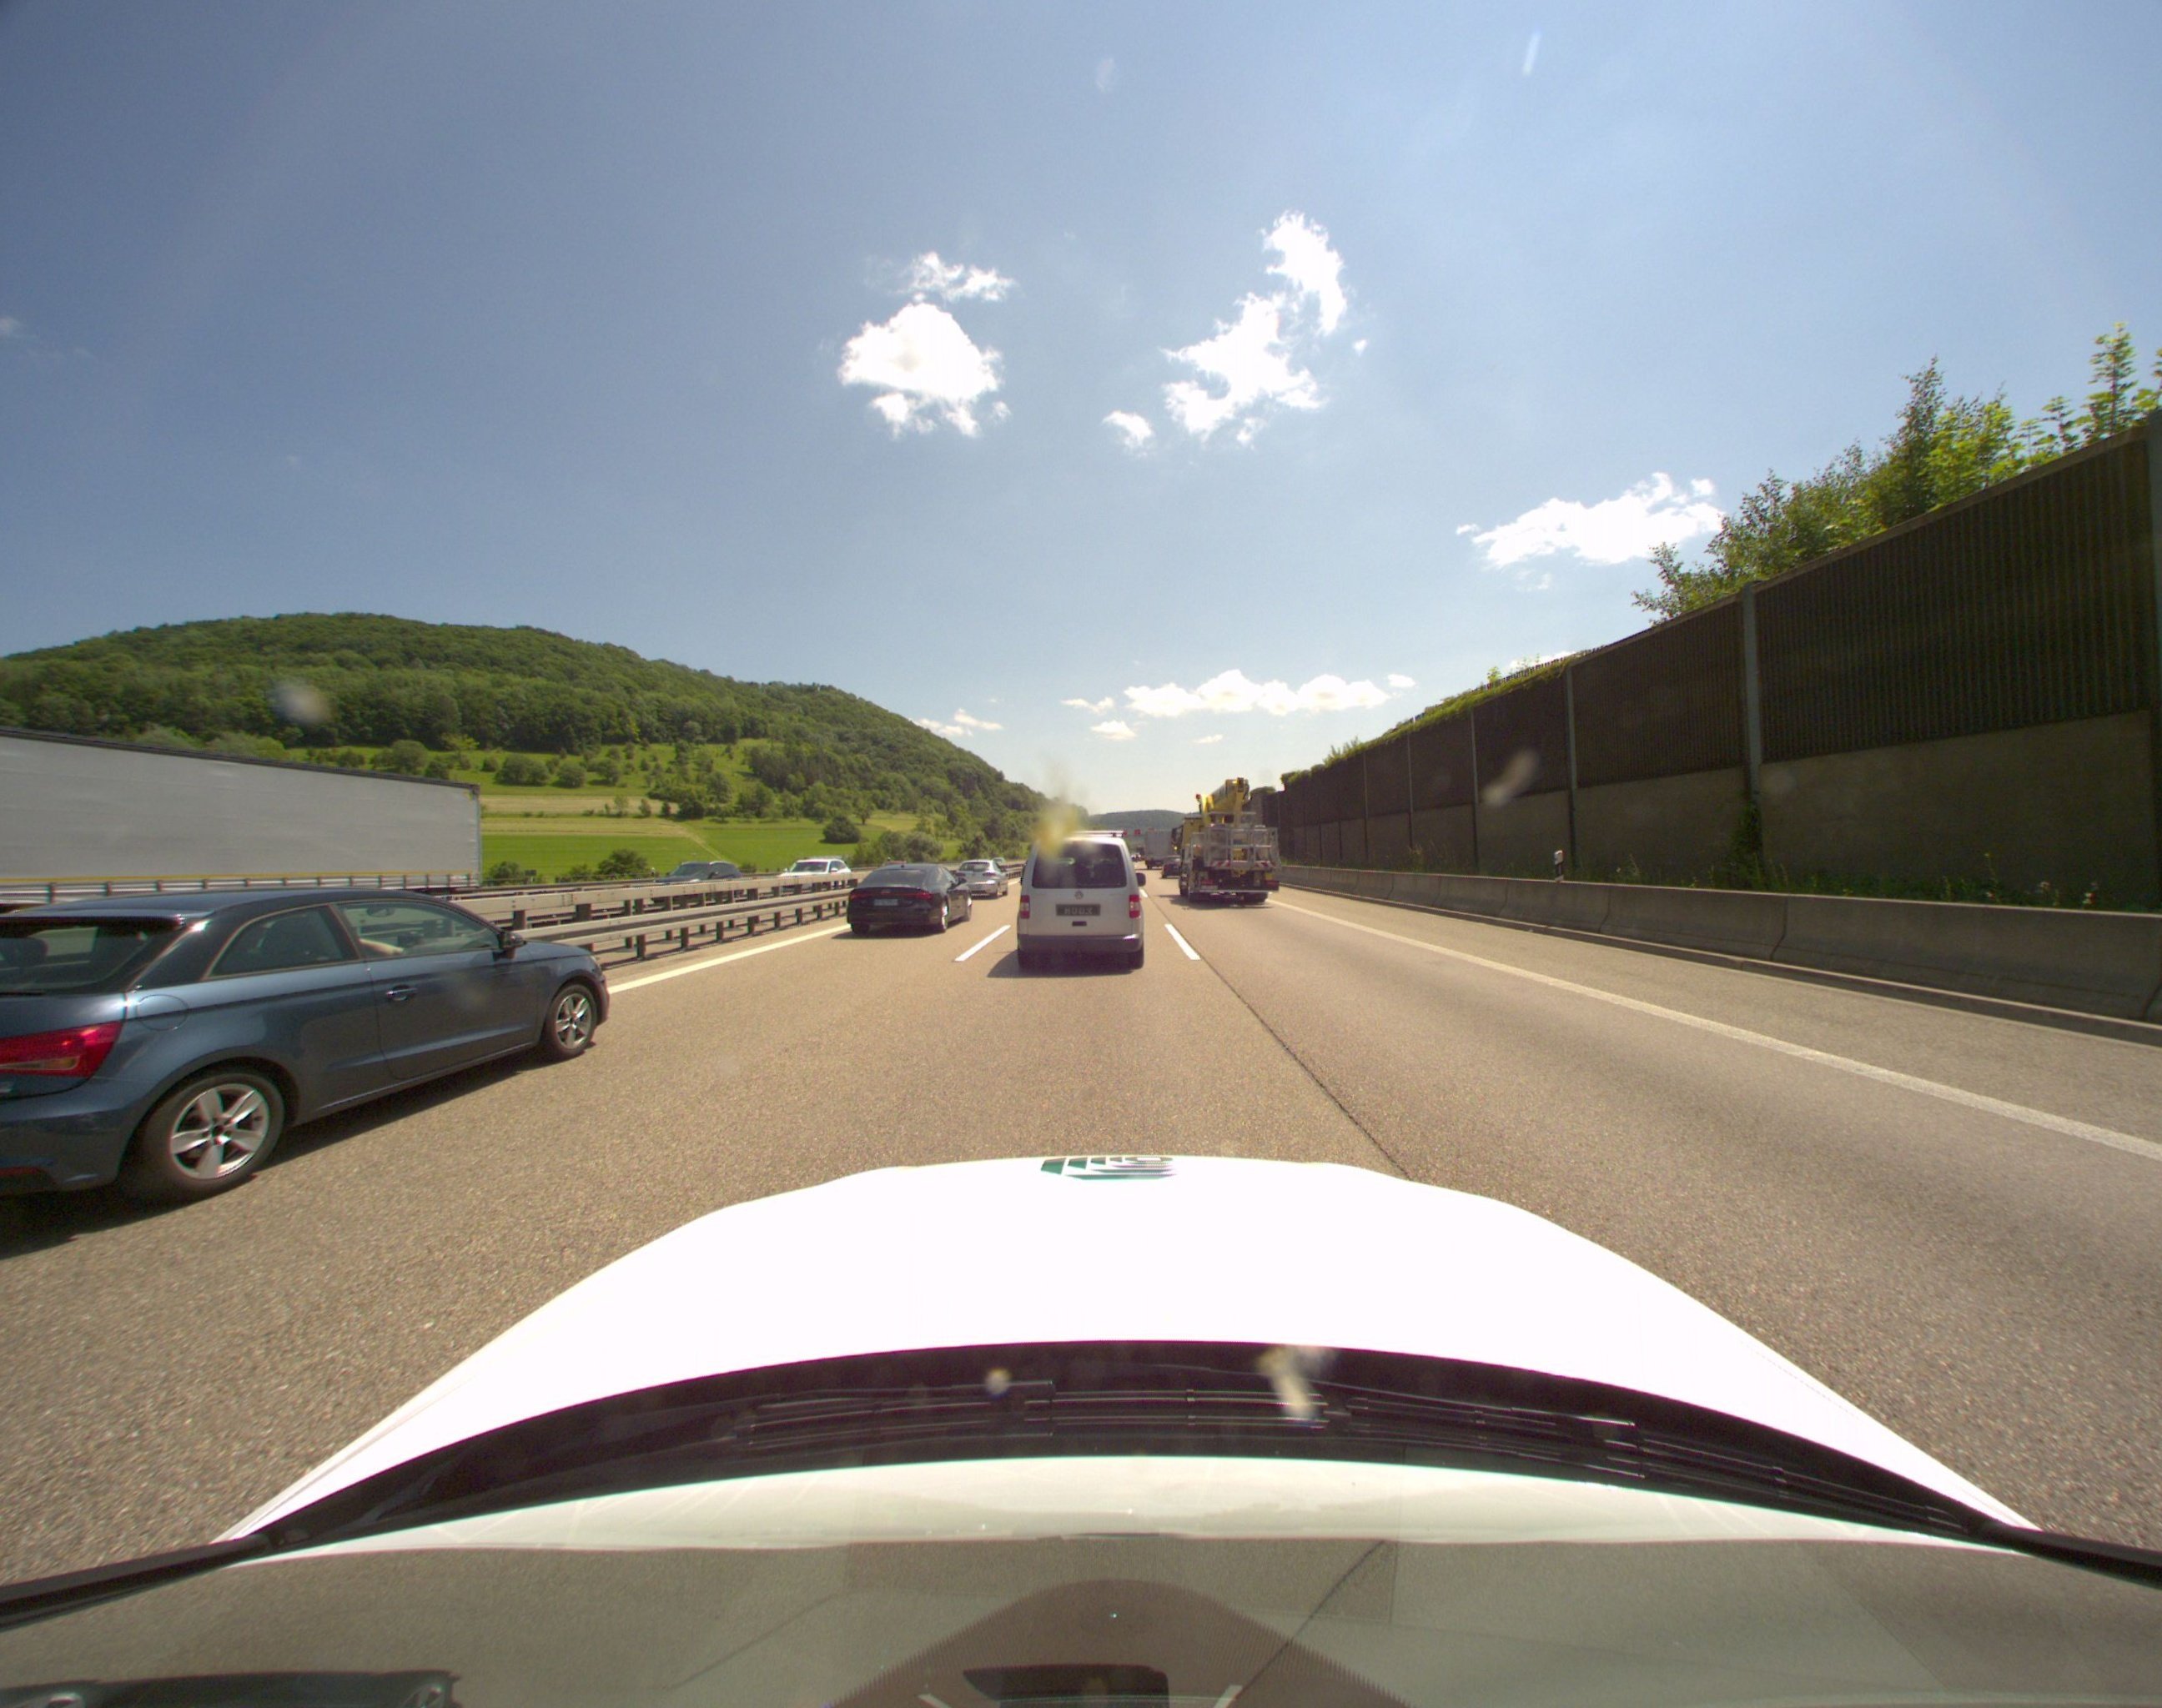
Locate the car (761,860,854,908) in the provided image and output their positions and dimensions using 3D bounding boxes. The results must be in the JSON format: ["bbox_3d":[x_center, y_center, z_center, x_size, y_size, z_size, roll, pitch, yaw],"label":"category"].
[{"bbox_3d":[-10.561,1.104,31.844,1.986,1.693,4.511,-1,0,2],"label":"car"}]

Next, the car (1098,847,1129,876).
[{"bbox_3d":[2.284,0.547,58.774,1.988,1.975,3.998,-1,0,-1],"label":"car"}]

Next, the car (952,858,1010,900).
[{"bbox_3d":[-3.698,0.880,30.624,1.690,1.445,3.860,-1,0,-1],"label":"car"}]

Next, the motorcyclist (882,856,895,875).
[{"bbox_3d":[-16.089,0.952,68.195,0.841,1.501,0.838,-1,0,0],"label":"motorcyclist"}]

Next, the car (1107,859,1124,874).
[{"bbox_3d":[4.275,1.522,100.887,2.106,1.828,4.001,0,-1,2],"label":"car"}]

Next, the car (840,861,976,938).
[{"bbox_3d":[-3.577,0.876,17.817,1.794,1.390,4.970,-1,0,1],"label":"car"}]

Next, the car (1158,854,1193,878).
[{"bbox_3d":[6.072,0.739,52.737,1.781,1.458,3.769,-1,0,-1],"label":"car"}]

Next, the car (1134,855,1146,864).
[{"bbox_3d":[12.281,1.066,169.040,2.108,1.828,3.997,0,-1,-1],"label":"car"}]

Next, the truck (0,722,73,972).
[{"bbox_3d":[-19.653,-0.130,11.003,3.266,4.148,6.957,-1,-1,1],"label":"truck"}]

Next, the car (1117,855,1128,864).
[{"bbox_3d":[9.507,1.278,186.340,2.108,1.828,3.997,0,-1,-1],"label":"car"}]

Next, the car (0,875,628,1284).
[{"bbox_3d":[-4.723,0.885,4.884,1.682,1.388,4.001,-1,0,1],"label":"car"}]

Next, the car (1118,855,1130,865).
[{"bbox_3d":[8.711,1.228,163.874,2.108,1.828,3.997,0,-1,-1],"label":"car"}]

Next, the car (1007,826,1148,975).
[{"bbox_3d":[-0.074,0.594,12.384,1.751,1.868,3.998,-1,0,-1],"label":"car"}]

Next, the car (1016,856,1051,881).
[{"bbox_3d":[-2.844,0.851,49.596,1.919,1.499,3.998,0,0,-1],"label":"car"}]

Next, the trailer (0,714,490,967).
[{"bbox_3d":[-19.407,-0.169,17.663,3.234,4.204,13.006,0,-1,2],"label":"trailer"}]

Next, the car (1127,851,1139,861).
[{"bbox_3d":[9.188,0.429,143.929,1.986,1.749,4.001,0,-1,2],"label":"car"}]

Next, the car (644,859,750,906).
[{"bbox_3d":[-14.565,1.026,31.177,1.862,1.618,4.357,-1,0,2],"label":"car"}]

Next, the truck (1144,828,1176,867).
[{"bbox_3d":[7.970,-0.571,83.333,2.928,3.823,8.242,0,-1,3],"label":"truck"}]

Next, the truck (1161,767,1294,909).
[{"bbox_3d":[4.567,-0.441,27.392,2.696,3.942,8.717,-1,0,-1],"label":"truck"}]
